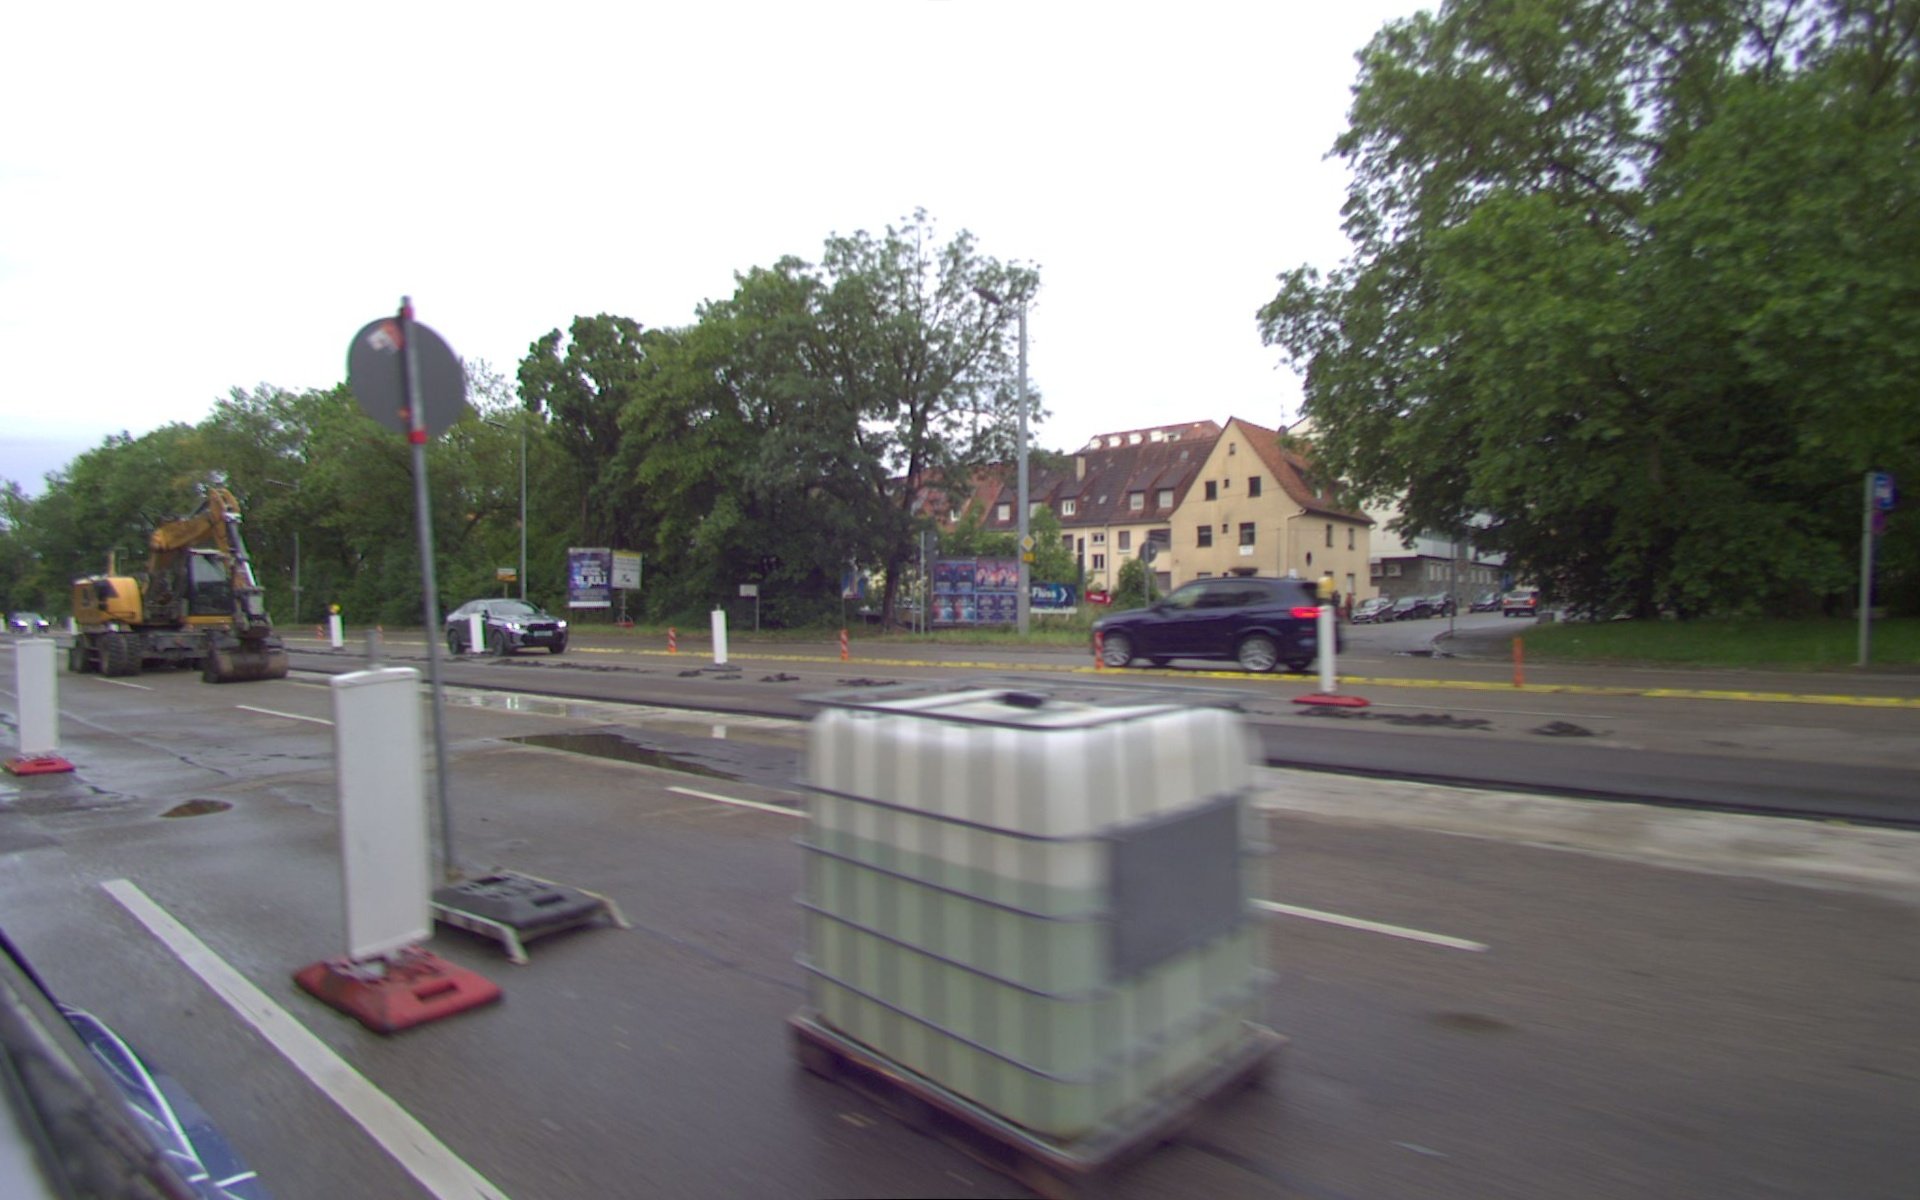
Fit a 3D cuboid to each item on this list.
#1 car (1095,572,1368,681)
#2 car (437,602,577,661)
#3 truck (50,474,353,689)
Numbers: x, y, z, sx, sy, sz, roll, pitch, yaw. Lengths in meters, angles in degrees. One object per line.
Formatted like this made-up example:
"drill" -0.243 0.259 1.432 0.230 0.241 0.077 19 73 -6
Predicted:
"car" 5.012 0.482 19.103 4.607 1.819 1.950 -1 -1 42
"car" -13.839 0.915 30.775 4.808 1.641 1.973 -1 0 40
"truck" -18.705 -0.301 24.542 10.735 4.291 2.871 -1 0 37
